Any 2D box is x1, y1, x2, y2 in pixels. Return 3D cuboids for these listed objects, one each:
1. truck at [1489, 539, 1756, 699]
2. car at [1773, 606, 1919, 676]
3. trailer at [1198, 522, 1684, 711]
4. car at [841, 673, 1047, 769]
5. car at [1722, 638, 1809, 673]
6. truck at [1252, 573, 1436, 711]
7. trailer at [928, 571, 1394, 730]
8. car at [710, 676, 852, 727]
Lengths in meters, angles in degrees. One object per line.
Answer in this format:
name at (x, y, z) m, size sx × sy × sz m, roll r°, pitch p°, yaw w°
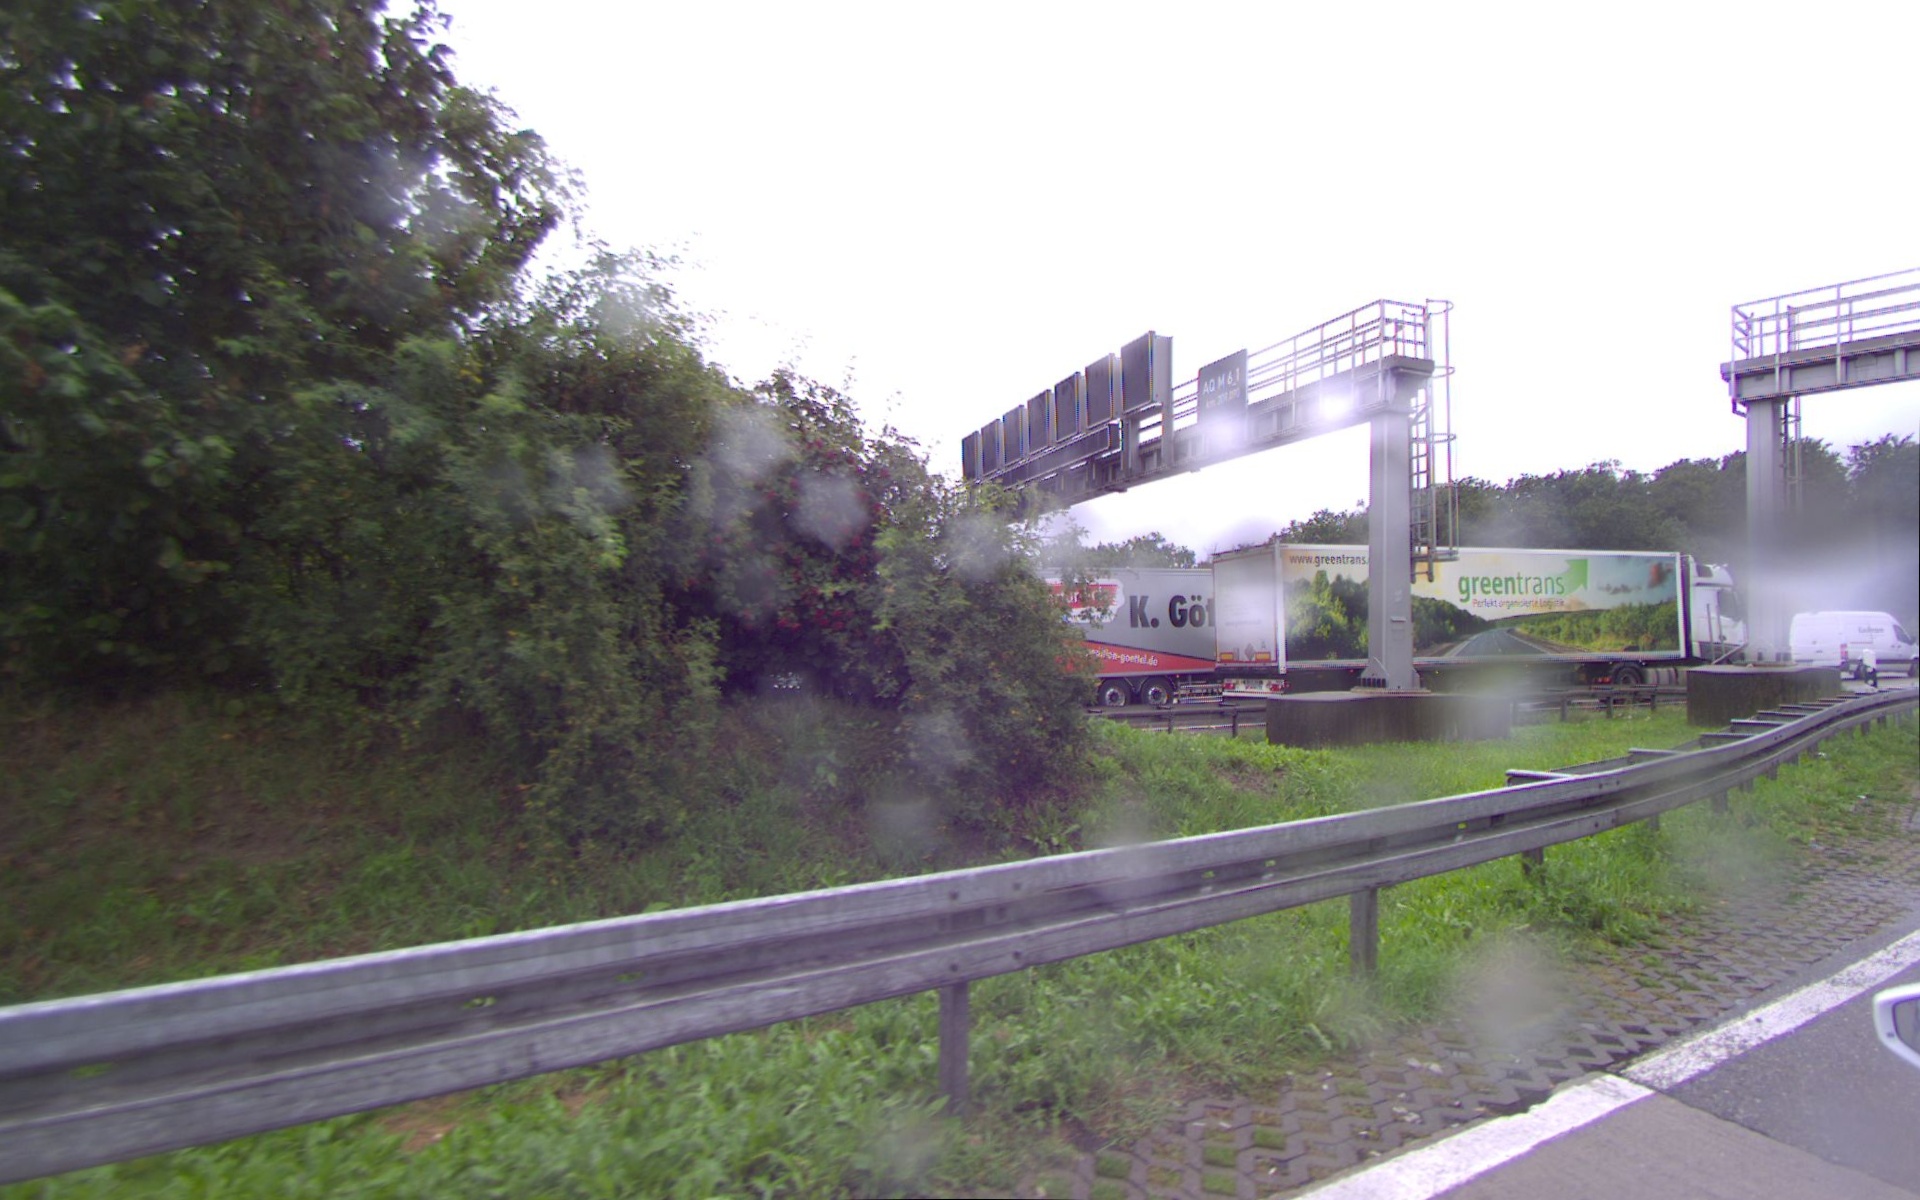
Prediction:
truck at (18.856, 0.592, 28.633) m, size 6.617 × 4.152 × 2.915 m, roll 1°, pitch -3°, yaw -20°
car at (35.697, 1.614, 40.289) m, size 5.757 × 2.664 × 2.212 m, roll 0°, pitch -3°, yaw -22°
trailer at (12.823, 0.509, 26.334) m, size 13.429 × 4.260 × 2.915 m, roll 1°, pitch -3°, yaw -21°
car at (-0.367, 2.572, 22.013) m, size 4.177 × 1.817 × 1.791 m, roll 0°, pitch -3°, yaw -22°
car at (41.979, 2.894, 52.361) m, size 3.940 × 1.728 × 1.774 m, roll 0°, pitch -3°, yaw -21°
truck at (11.627, 1.253, 30.560) m, size 4.519 × 3.914 × 2.624 m, roll 0°, pitch -3°, yaw -21°
trailer at (5.924, 1.319, 28.407) m, size 13.468 × 3.914 × 2.624 m, roll 0°, pitch -3°, yaw -20°
car at (-5.675, 3.183, 31.778) m, size 4.164 × 1.428 × 1.803 m, roll 1°, pitch -3°, yaw -21°
